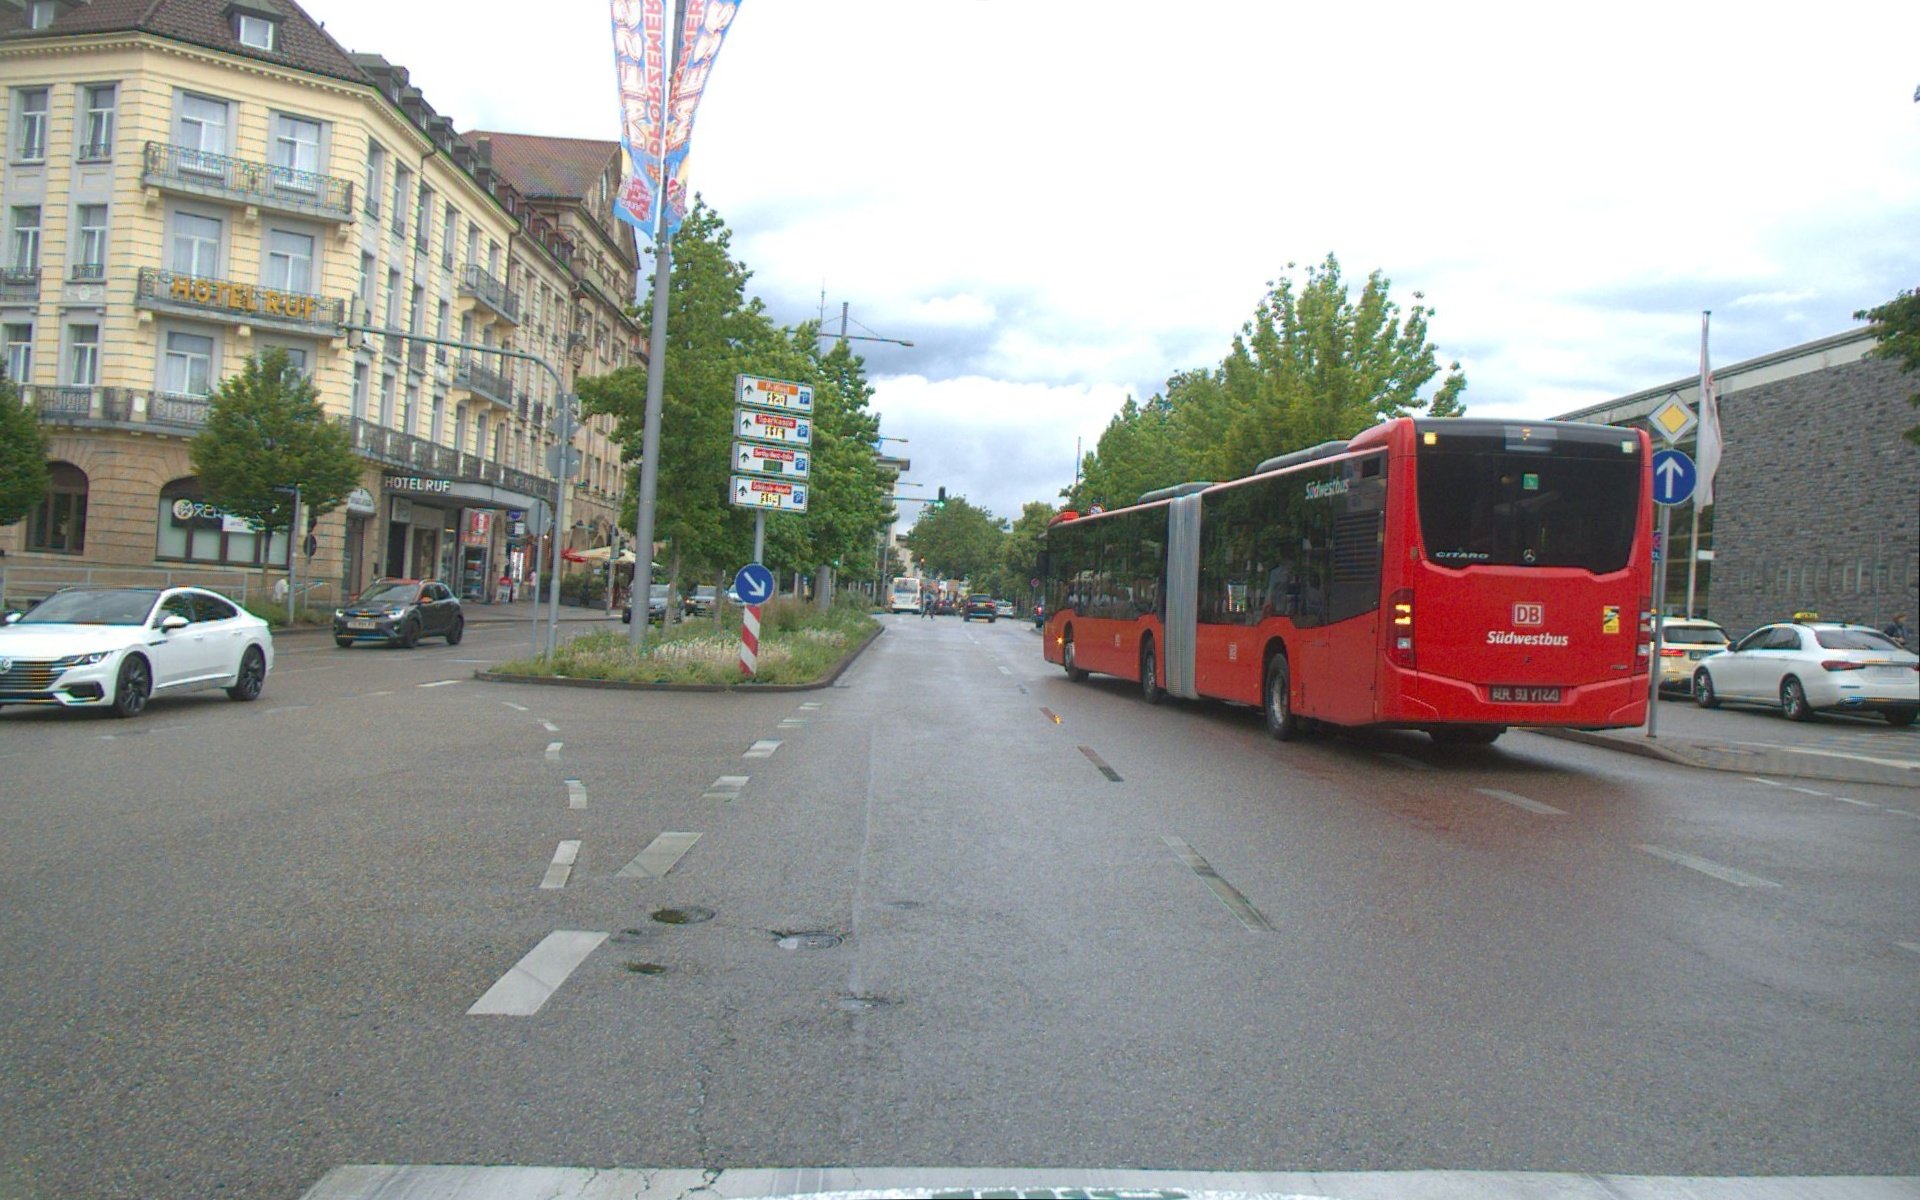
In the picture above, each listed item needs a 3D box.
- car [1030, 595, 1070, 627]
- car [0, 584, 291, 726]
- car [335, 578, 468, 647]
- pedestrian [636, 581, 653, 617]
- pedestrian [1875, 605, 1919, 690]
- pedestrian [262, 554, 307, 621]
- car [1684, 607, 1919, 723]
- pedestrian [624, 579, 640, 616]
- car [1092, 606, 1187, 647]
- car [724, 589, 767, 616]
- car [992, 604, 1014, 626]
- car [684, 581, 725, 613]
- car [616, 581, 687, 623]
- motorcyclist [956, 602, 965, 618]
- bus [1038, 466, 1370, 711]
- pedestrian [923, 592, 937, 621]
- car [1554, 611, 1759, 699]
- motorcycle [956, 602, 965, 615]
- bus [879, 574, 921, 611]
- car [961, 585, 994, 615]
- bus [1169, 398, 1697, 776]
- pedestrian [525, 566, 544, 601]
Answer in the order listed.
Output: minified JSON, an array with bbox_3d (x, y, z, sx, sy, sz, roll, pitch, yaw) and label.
[{"bbox_3d":[4.625,0.554,85.455,1.779,1.557,3.999,1,0,-1],"label":"car"},{"bbox_3d":[-9.624,0.533,19.213,1.689,1.405,4.860,1,1,0],"label":"car"},{"bbox_3d":[-12.824,0.251,38.202,1.597,1.502,4.027,1,0,2],"label":"car"},{"bbox_3d":[-15.101,-0.052,79.118,0.661,1.731,0.633,2,0,-1],"label":"pedestrian"},{"bbox_3d":[18.900,0.950,33.335,0.549,1.662,0.566,2,0,-3],"label":"pedestrian"},{"bbox_3d":[-19.650,-0.364,48.128,0.845,1.911,1.022,2,0,-1],"label":"pedestrian"},{"bbox_3d":[13.373,0.952,26.058,1.739,1.617,4.614,1,0,-2],"label":"car"},{"bbox_3d":[-15.682,-0.129,79.054,0.563,1.762,0.609,2,0,-1],"label":"pedestrian"},{"bbox_3d":[8.946,1.315,82.390,4.273,1.890,1.988,2,0,-21],"label":"car"},{"bbox_3d":[-11.856,0.150,91.508,1.718,1.393,4.061,2,0,2],"label":"car"},{"bbox_3d":[3.972,1.388,152.940,1.752,1.892,3.999,2,0,-1],"label":"car"},{"bbox_3d":[-11.859,-0.165,76.808,1.721,1.393,4.053,2,0,-7],"label":"car"},{"bbox_3d":[-11.534,0.058,62.052,1.718,1.466,4.060,2,0,2],"label":"car"},{"bbox_3d":[0.032,0.819,139.896,0.749,1.355,0.866,2,0,-1],"label":"motorcyclist"},{"bbox_3d":[3.538,-0.169,27.258,2.691,3.229,10.178,1,0,-7],"label":"bus"},{"bbox_3d":[-1.789,0.385,99.763,0.742,1.730,0.560,2,0,6],"label":"pedestrian"},{"bbox_3d":[13.244,0.995,31.774,1.809,1.477,4.664,1,0,-2],"label":"car"},{"bbox_3d":[0.049,0.723,139.904,0.750,1.095,2.175,2,0,-1],"label":"motorcycle"},{"bbox_3d":[-5.584,-0.714,155.908,3.684,3.265,15.520,1,0,-2],"label":"bus"},{"bbox_3d":[1.125,-0.008,108.168,1.953,1.837,4.689,1,0,-1],"label":"car"},{"bbox_3d":[4.660,-0.113,18.439,2.691,3.229,8.108,1,0,-7],"label":"bus"},{"bbox_3d":[-19.106,-0.745,74.294,0.656,1.537,0.512,2,0,-39],"label":"pedestrian"}]
